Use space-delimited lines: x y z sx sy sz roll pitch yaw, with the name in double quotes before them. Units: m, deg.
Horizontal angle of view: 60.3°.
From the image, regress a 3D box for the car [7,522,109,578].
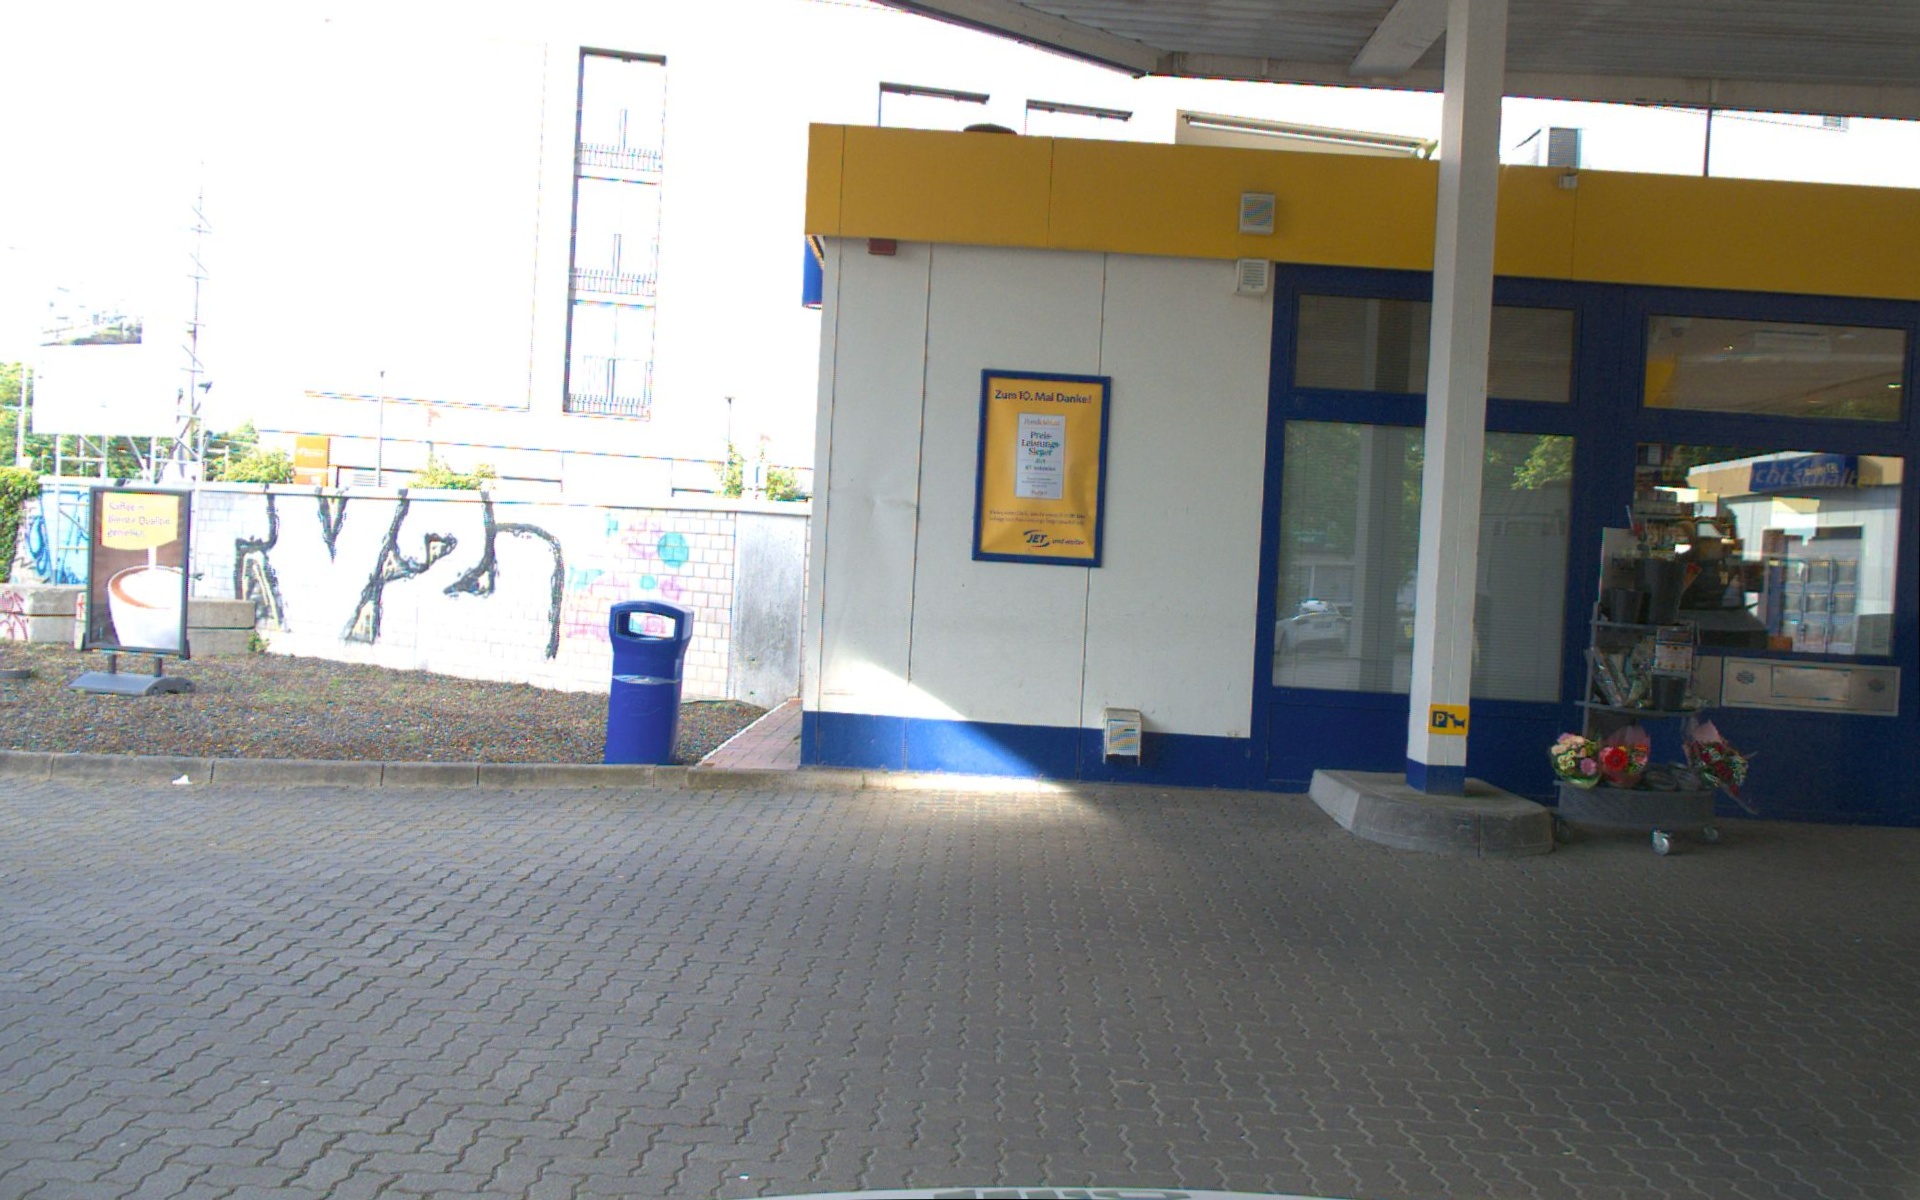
"car" -26.608 -1.479 48.928 1.721 1.494 4.549 3 1 -17
